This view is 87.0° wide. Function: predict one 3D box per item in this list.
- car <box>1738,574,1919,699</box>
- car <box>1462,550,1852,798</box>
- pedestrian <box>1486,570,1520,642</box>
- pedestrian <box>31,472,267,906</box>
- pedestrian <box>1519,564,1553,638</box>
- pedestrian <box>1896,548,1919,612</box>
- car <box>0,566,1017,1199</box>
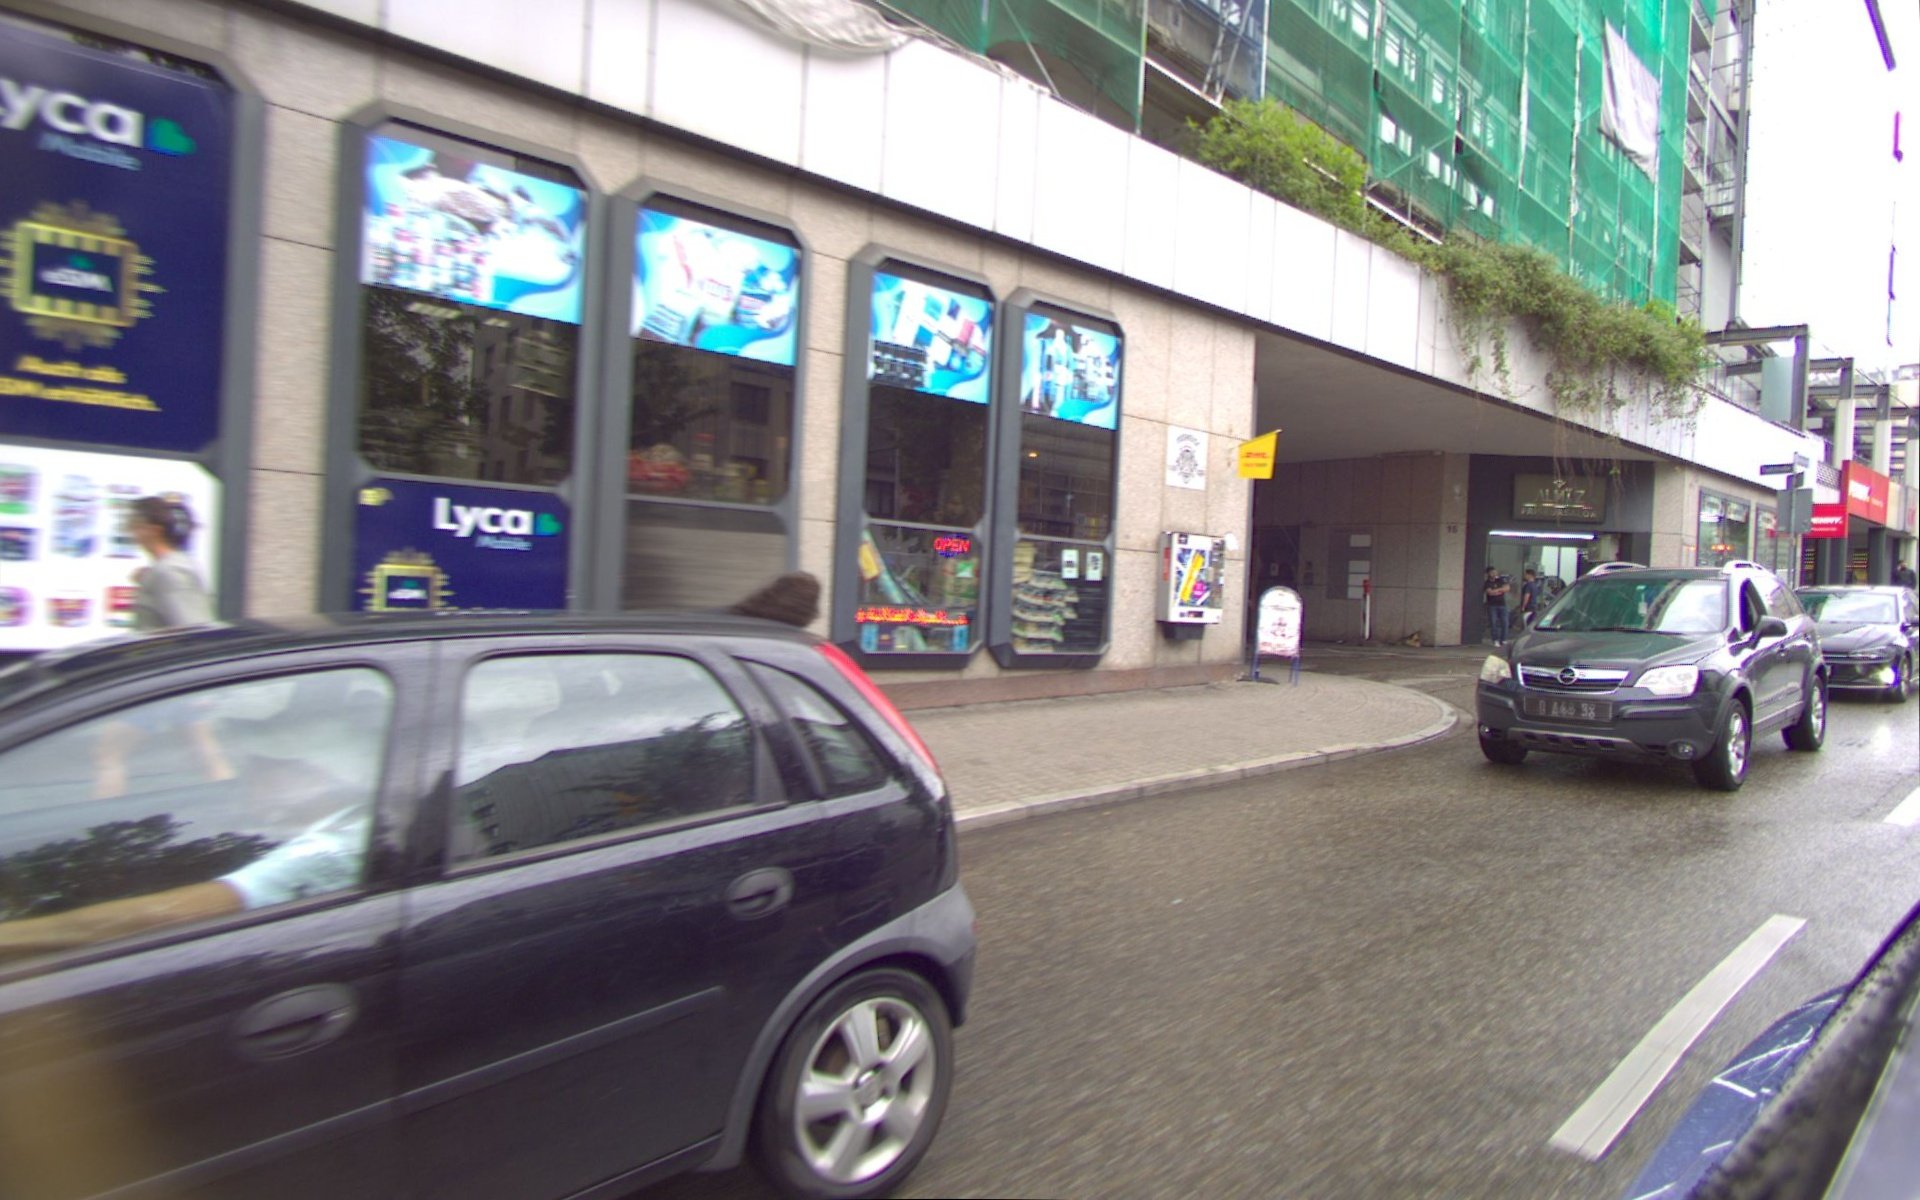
[{"bbox_3d":[12.284,0.393,13.859,3.707,1.448,1.683,-2,2,-37],"label":"car"},{"bbox_3d":[6.282,0.439,8.942,4.173,1.699,1.735,-2,2,-39],"label":"car"},{"bbox_3d":[11.788,0.120,21.977,0.517,1.506,0.427,2,3,18],"label":"pedestrian"},{"bbox_3d":[-3.780,0.335,4.782,0.790,1.799,0.899,-1,7,-38],"label":"pedestrian"},{"bbox_3d":[12.036,0.007,21.145,0.515,1.506,0.428,-2,4,-42],"label":"pedestrian"},{"bbox_3d":[28.608,-0.588,30.208,0.630,1.798,0.708,-7,11,-38],"label":"pedestrian"},{"bbox_3d":[-1.734,0.677,2.083,3.563,1.459,1.595,2,0,-41],"label":"car"}]
